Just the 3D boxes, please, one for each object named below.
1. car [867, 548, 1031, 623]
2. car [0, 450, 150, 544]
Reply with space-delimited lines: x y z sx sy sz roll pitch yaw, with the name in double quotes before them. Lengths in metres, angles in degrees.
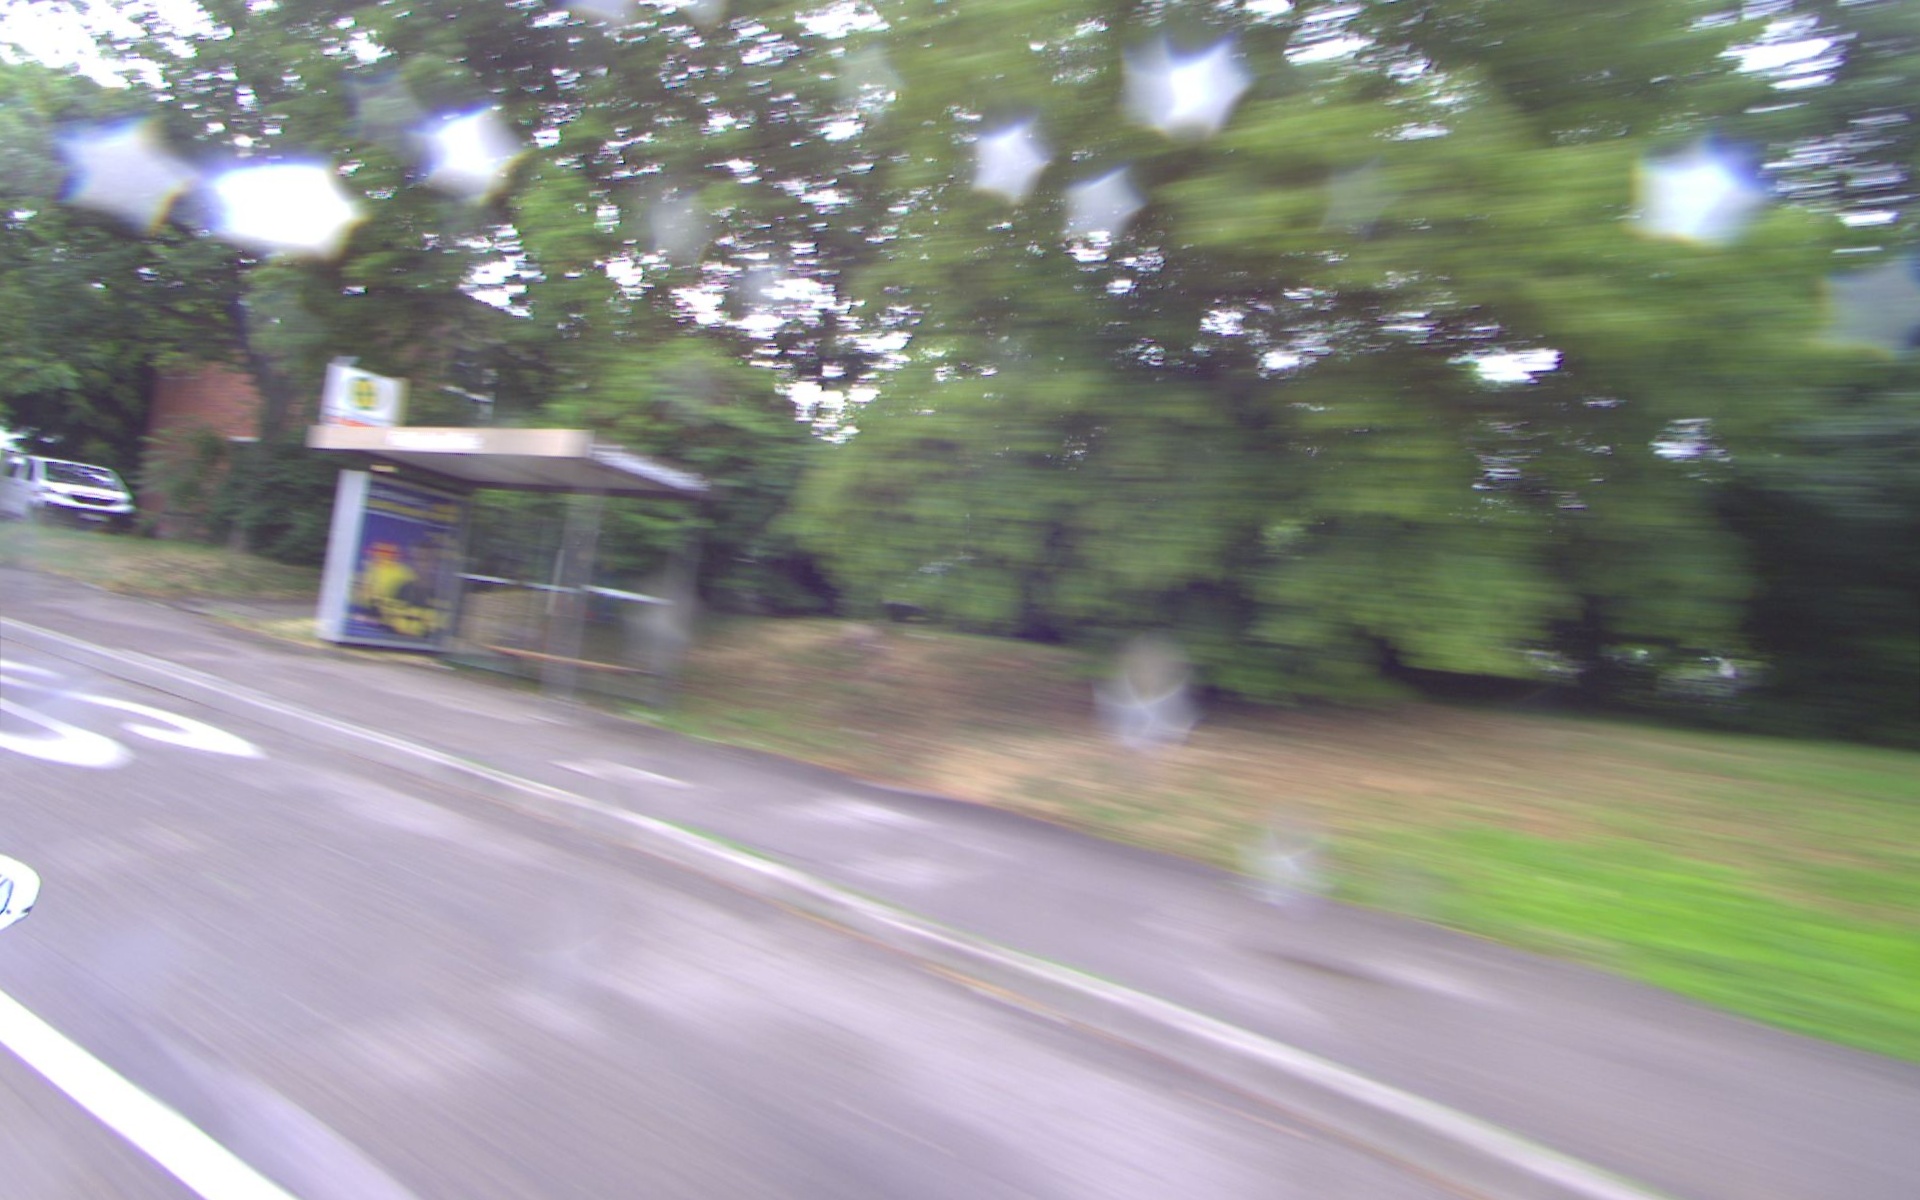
"car" -0.248 -0.370 27.685 4.290 1.803 1.782 2 3 -40
"car" -23.686 -2.760 26.425 5.062 1.824 1.999 7 -3 32
